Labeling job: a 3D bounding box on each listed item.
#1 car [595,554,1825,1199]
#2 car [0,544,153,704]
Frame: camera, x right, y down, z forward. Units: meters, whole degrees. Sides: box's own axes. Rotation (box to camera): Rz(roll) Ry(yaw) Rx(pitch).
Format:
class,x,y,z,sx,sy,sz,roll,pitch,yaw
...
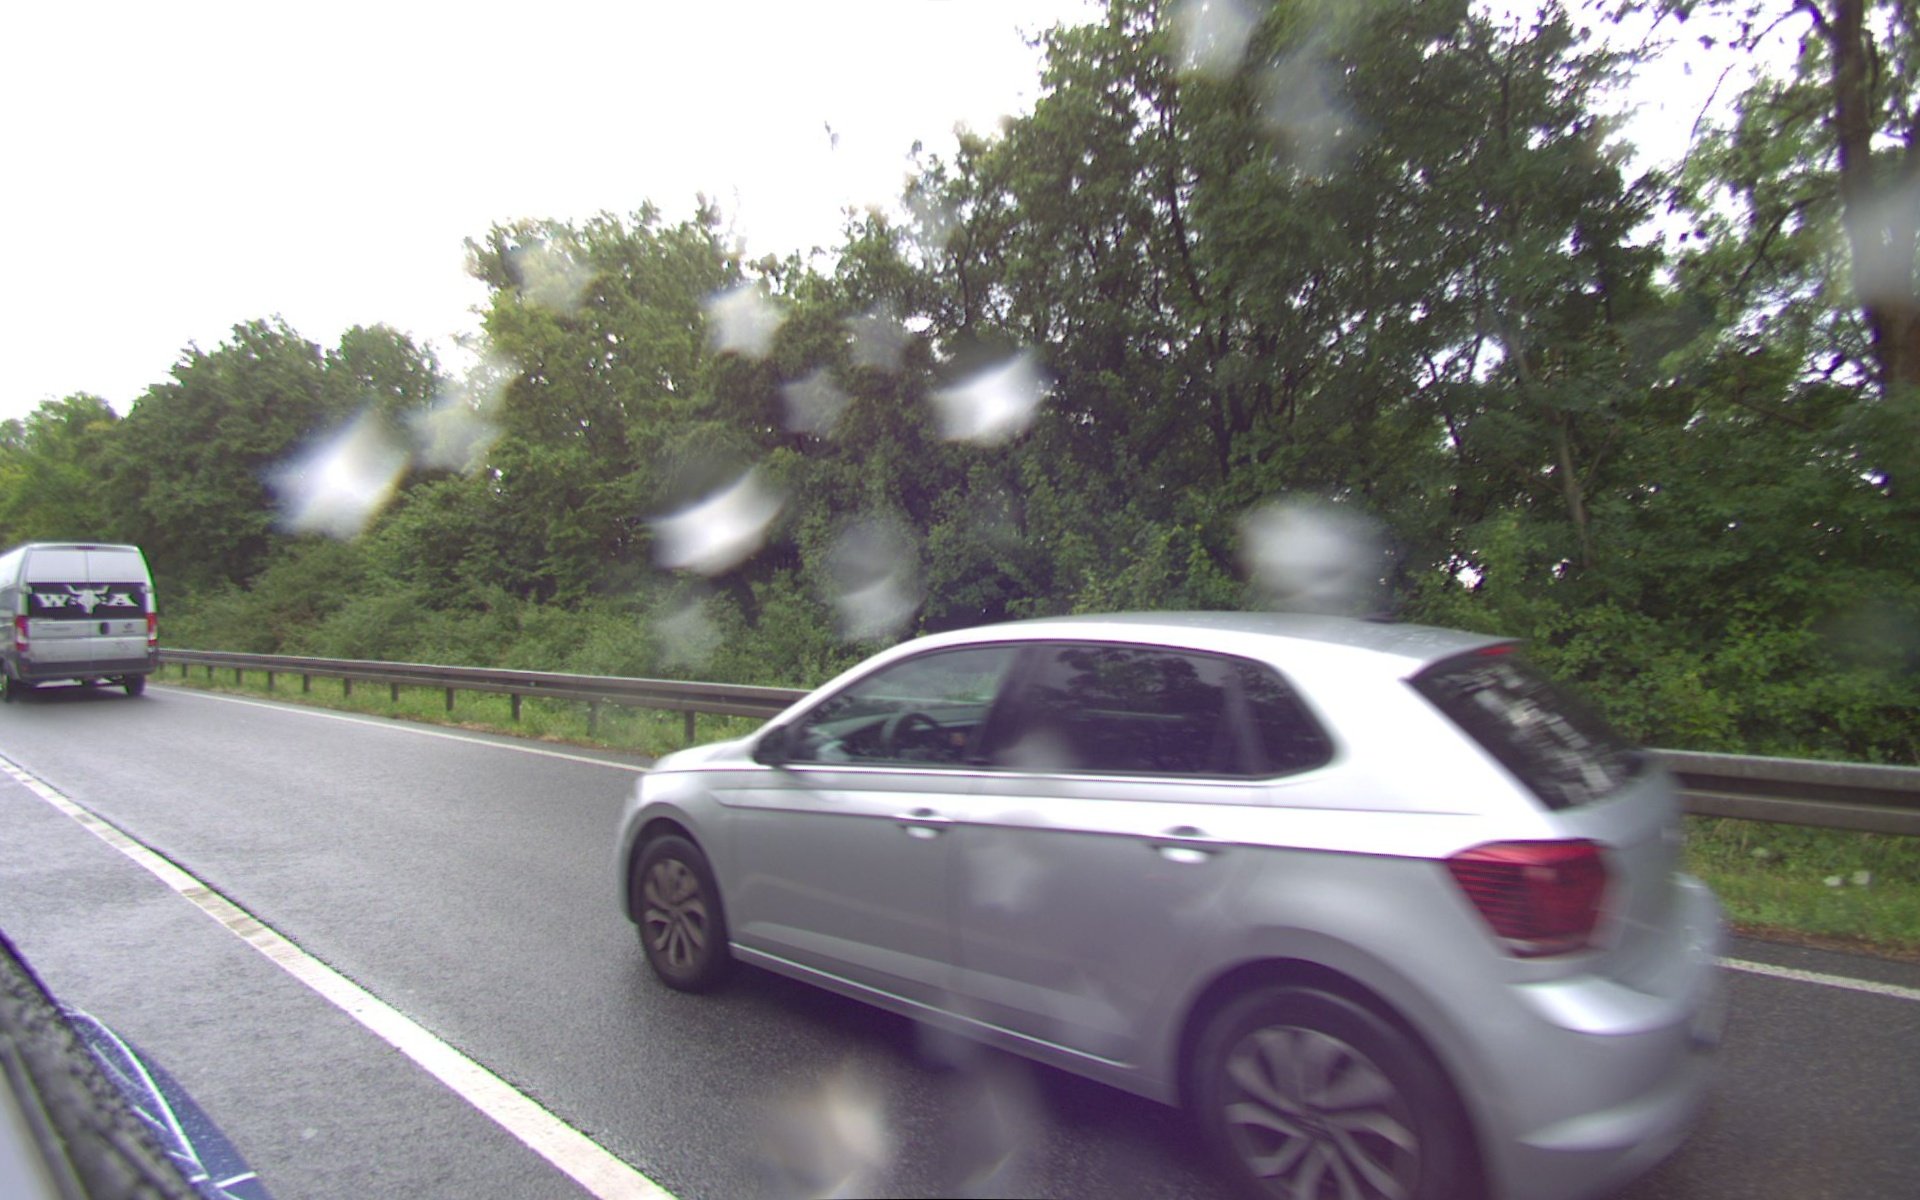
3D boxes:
class,x,y,z,sx,sy,sz,roll,pitch,yaw
car,0.483,0.651,3.550,3.848,1.442,1.710,0,0,42
car,-17.780,0.424,19.789,6.168,2.697,2.026,0,0,41
